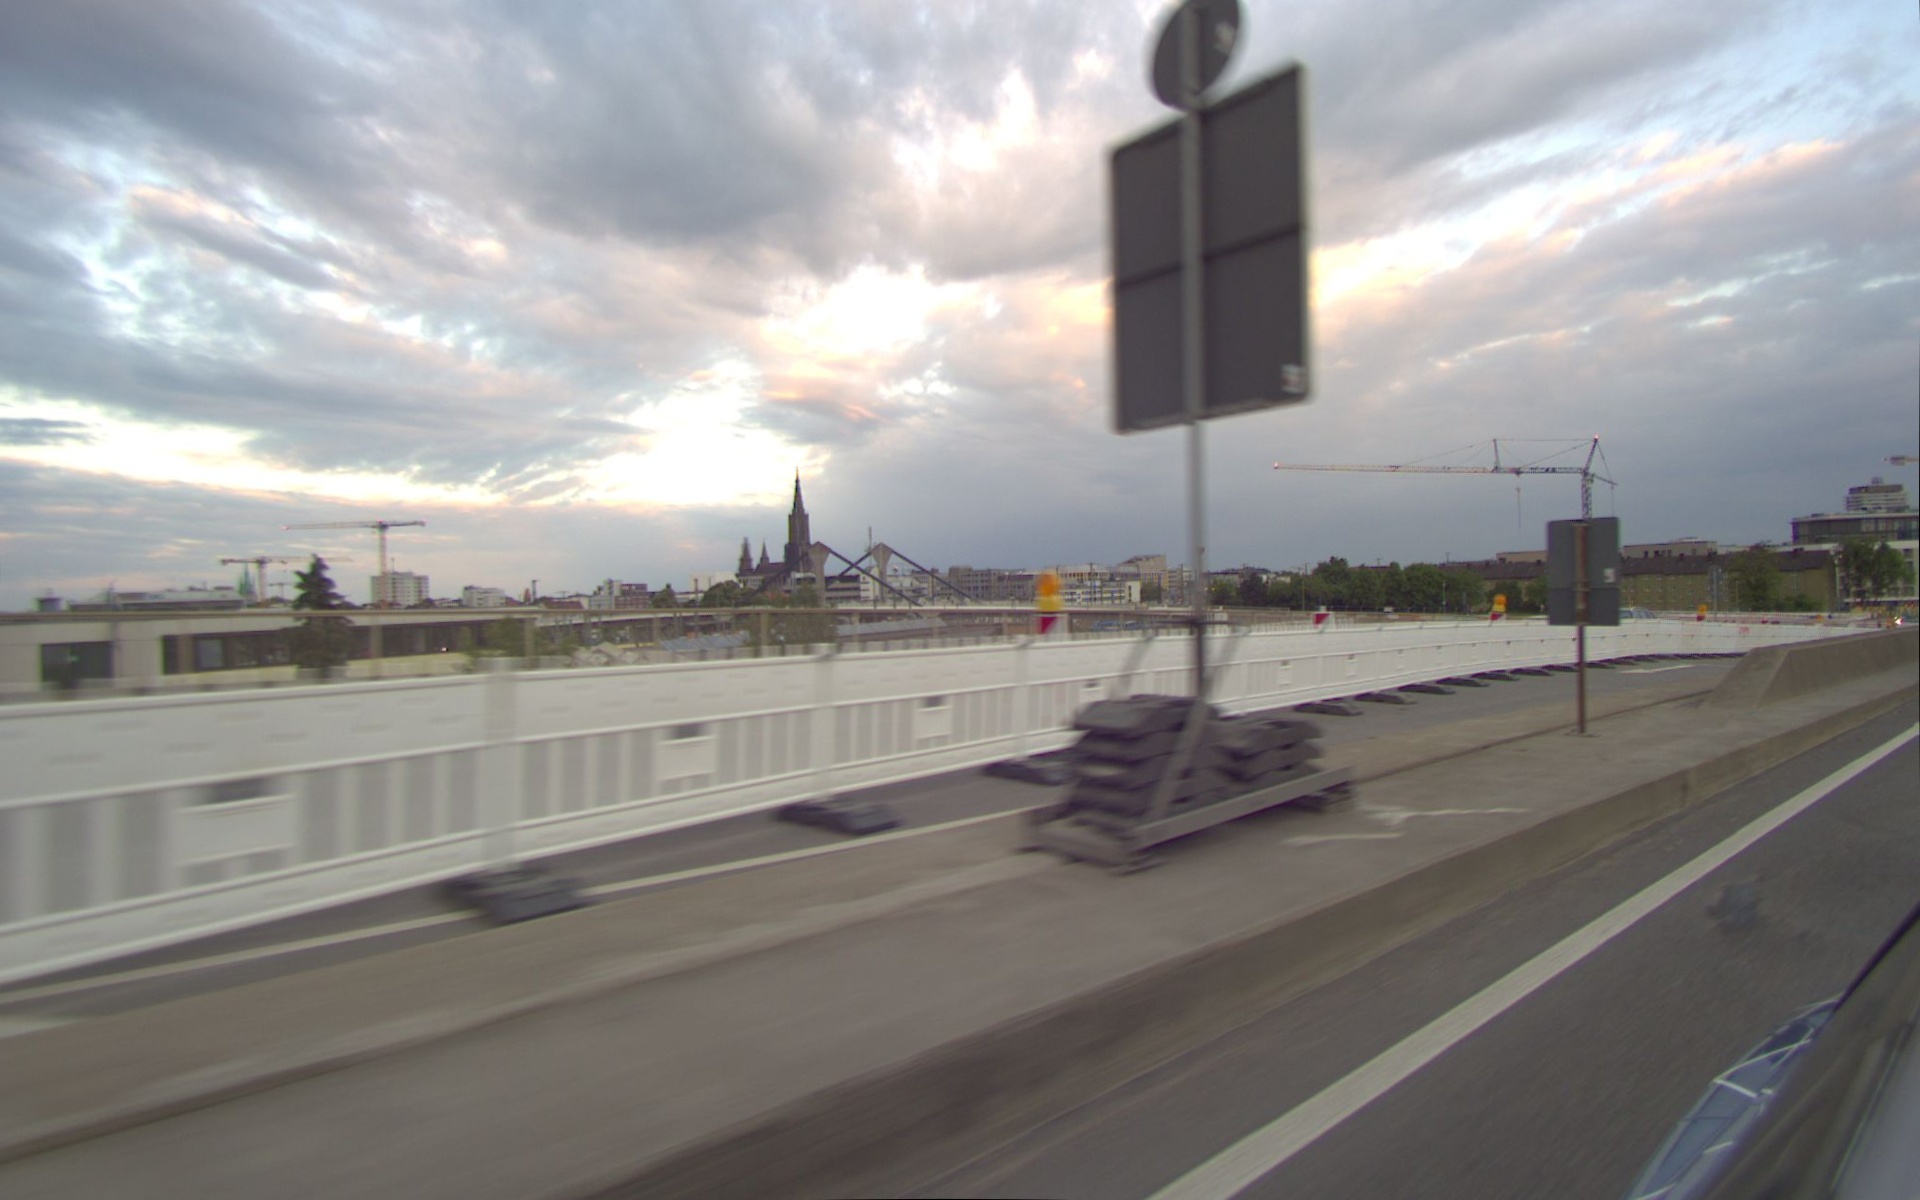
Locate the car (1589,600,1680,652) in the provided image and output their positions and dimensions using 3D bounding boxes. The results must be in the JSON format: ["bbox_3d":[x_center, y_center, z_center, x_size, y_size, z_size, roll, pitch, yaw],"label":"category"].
[{"bbox_3d":[21.234,0.759,31.804,1.749,1.510,3.938,-1,0,43],"label":"car"}]
